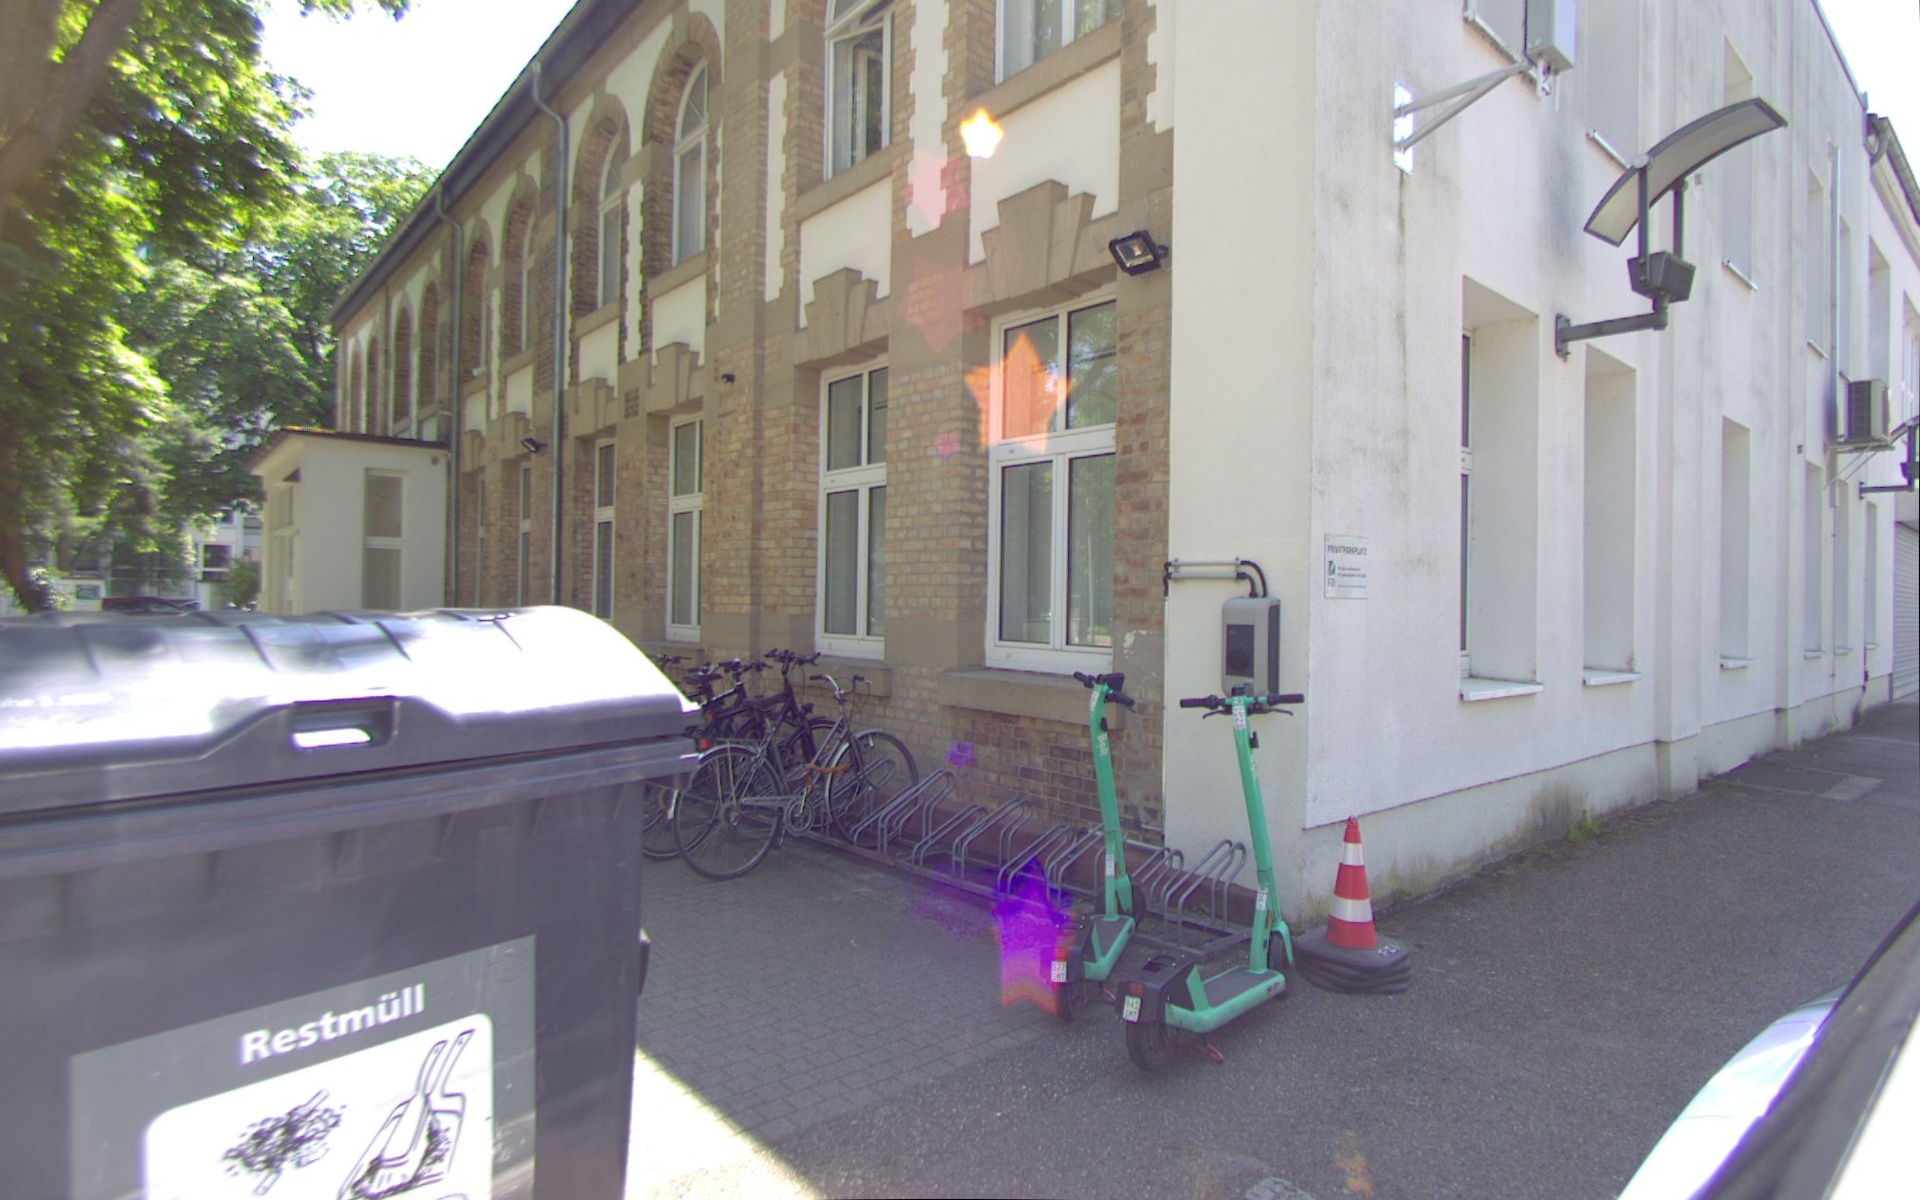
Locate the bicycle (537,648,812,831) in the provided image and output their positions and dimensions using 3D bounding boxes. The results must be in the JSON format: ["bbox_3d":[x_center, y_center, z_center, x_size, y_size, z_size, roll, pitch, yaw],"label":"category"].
[{"bbox_3d":[-1.952,0.905,7.099,1.802,1.081,0.504,1,0,-40],"label":"bicycle"}]

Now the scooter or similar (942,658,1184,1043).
[{"bbox_3d":[0.456,0.866,4.006,0.461,1.188,1.242,0,0,31],"label":"scooter or similar"}]

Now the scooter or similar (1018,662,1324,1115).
[{"bbox_3d":[0.789,0.855,3.522,0.463,1.188,1.337,0,0,40],"label":"scooter or similar"}]

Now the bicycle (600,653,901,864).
[{"bbox_3d":[-1.230,0.896,6.234,1.802,1.081,0.454,1,-1,-40],"label":"bicycle"}]

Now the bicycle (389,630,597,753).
[{"bbox_3d":[-4.609,0.866,10.079,1.802,1.083,0.522,0,0,-40],"label":"bicycle"}]

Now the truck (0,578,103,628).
[{"bbox_3d":[-35.782,0.098,38.512,4.549,1.856,1.658,-1,0,-26],"label":"truck"}]

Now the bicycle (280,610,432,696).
[{"bbox_3d":[-8.673,0.723,14.572,1.809,1.157,0.589,0,0,-40],"label":"bicycle"}]

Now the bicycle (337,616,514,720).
[{"bbox_3d":[-6.439,0.780,12.249,1.809,1.157,0.589,0,0,-40],"label":"bicycle"}]

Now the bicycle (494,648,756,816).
[{"bbox_3d":[-2.480,0.932,7.639,1.802,1.081,0.504,1,-1,-40],"label":"bicycle"}]

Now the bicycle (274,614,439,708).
[{"bbox_3d":[-7.917,0.767,13.315,1.807,1.157,0.589,0,0,-36],"label":"bicycle"}]

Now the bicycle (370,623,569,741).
[{"bbox_3d":[-5.127,0.819,10.652,1.809,1.114,0.522,0,0,-40],"label":"bicycle"}]

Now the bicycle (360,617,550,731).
[{"bbox_3d":[-5.594,0.775,11.280,1.809,1.157,0.589,0,0,-40],"label":"bicycle"}]

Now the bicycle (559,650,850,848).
[{"bbox_3d":[-1.618,0.899,6.638,1.802,1.081,0.504,1,0,-40],"label":"bicycle"}]

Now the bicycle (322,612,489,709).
[{"bbox_3d":[-7.123,0.735,13.051,1.809,1.157,0.589,0,0,-40],"label":"bicycle"}]

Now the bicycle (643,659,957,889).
[{"bbox_3d":[-0.856,0.916,5.828,1.802,1.081,0.454,1,-1,-40],"label":"bicycle"}]

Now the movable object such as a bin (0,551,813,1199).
[{"bbox_3d":[-1.182,0.703,1.775,1.153,1.524,1.441,0,0,40],"label":"movable object such as a bin"}]

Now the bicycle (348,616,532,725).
[{"bbox_3d":[-6.009,0.772,11.763,1.809,1.157,0.589,0,0,-40],"label":"bicycle"}]

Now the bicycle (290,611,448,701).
[{"bbox_3d":[-8.163,0.744,14.026,1.809,1.157,0.589,0,0,-40],"label":"bicycle"}]

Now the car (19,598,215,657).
[{"bbox_3d":[-23.377,0.698,28.235,1.685,1.482,3.910,1,0,21],"label":"car"}]

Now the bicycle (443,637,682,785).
[{"bbox_3d":[-3.335,0.889,8.607,1.802,1.117,0.522,2,-1,-40],"label":"bicycle"}]

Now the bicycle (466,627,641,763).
[{"bbox_3d":[-3.760,0.832,9.540,0.466,1.117,1.825,1,-1,17],"label":"bicycle"}]
